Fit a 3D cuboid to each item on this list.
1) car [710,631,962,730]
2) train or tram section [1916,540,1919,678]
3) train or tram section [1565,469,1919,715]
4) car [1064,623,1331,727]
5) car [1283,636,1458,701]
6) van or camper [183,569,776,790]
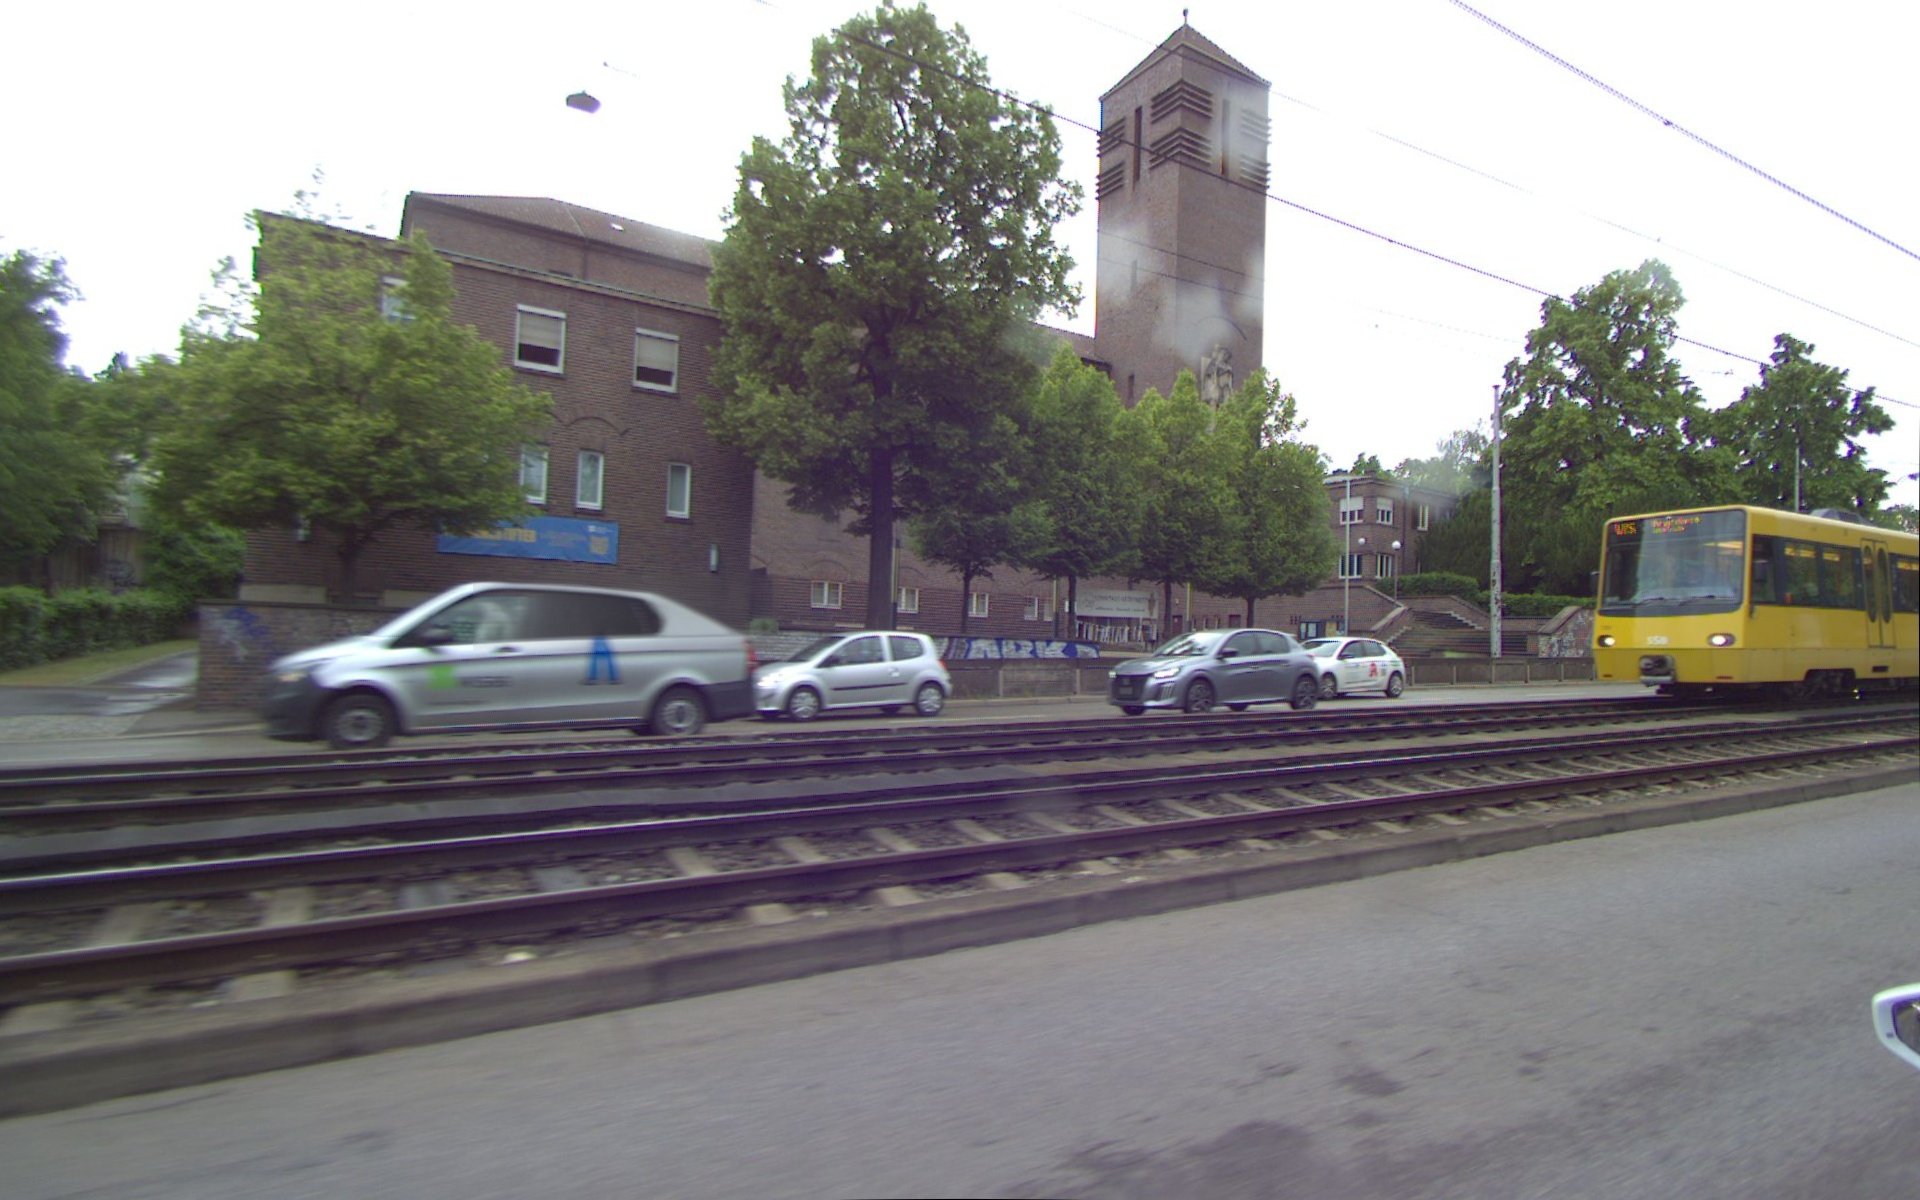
[{"bbox_3d":[-2.072,1.290,17.142,3.942,1.487,1.737,1,-2,-33],"label":"car"},{"bbox_3d":[36.001,0.413,33.023,17.688,4.028,2.811,1,-2,-34],"label":"train or tram section"},{"bbox_3d":[20.425,0.077,22.908,19.806,4.028,2.813,1,-2,-32],"label":"train or tram section"},{"bbox_3d":[4.055,1.174,16.906,4.454,1.552,1.778,1,-2,-32],"label":"car"},{"bbox_3d":[10.127,1.635,24.702,4.429,1.487,1.679,1,-3,-32],"label":"car"},{"bbox_3d":[-5.080,0.785,11.353,5.630,1.985,1.903,1,-2,-32],"label":"van or camper"}]
